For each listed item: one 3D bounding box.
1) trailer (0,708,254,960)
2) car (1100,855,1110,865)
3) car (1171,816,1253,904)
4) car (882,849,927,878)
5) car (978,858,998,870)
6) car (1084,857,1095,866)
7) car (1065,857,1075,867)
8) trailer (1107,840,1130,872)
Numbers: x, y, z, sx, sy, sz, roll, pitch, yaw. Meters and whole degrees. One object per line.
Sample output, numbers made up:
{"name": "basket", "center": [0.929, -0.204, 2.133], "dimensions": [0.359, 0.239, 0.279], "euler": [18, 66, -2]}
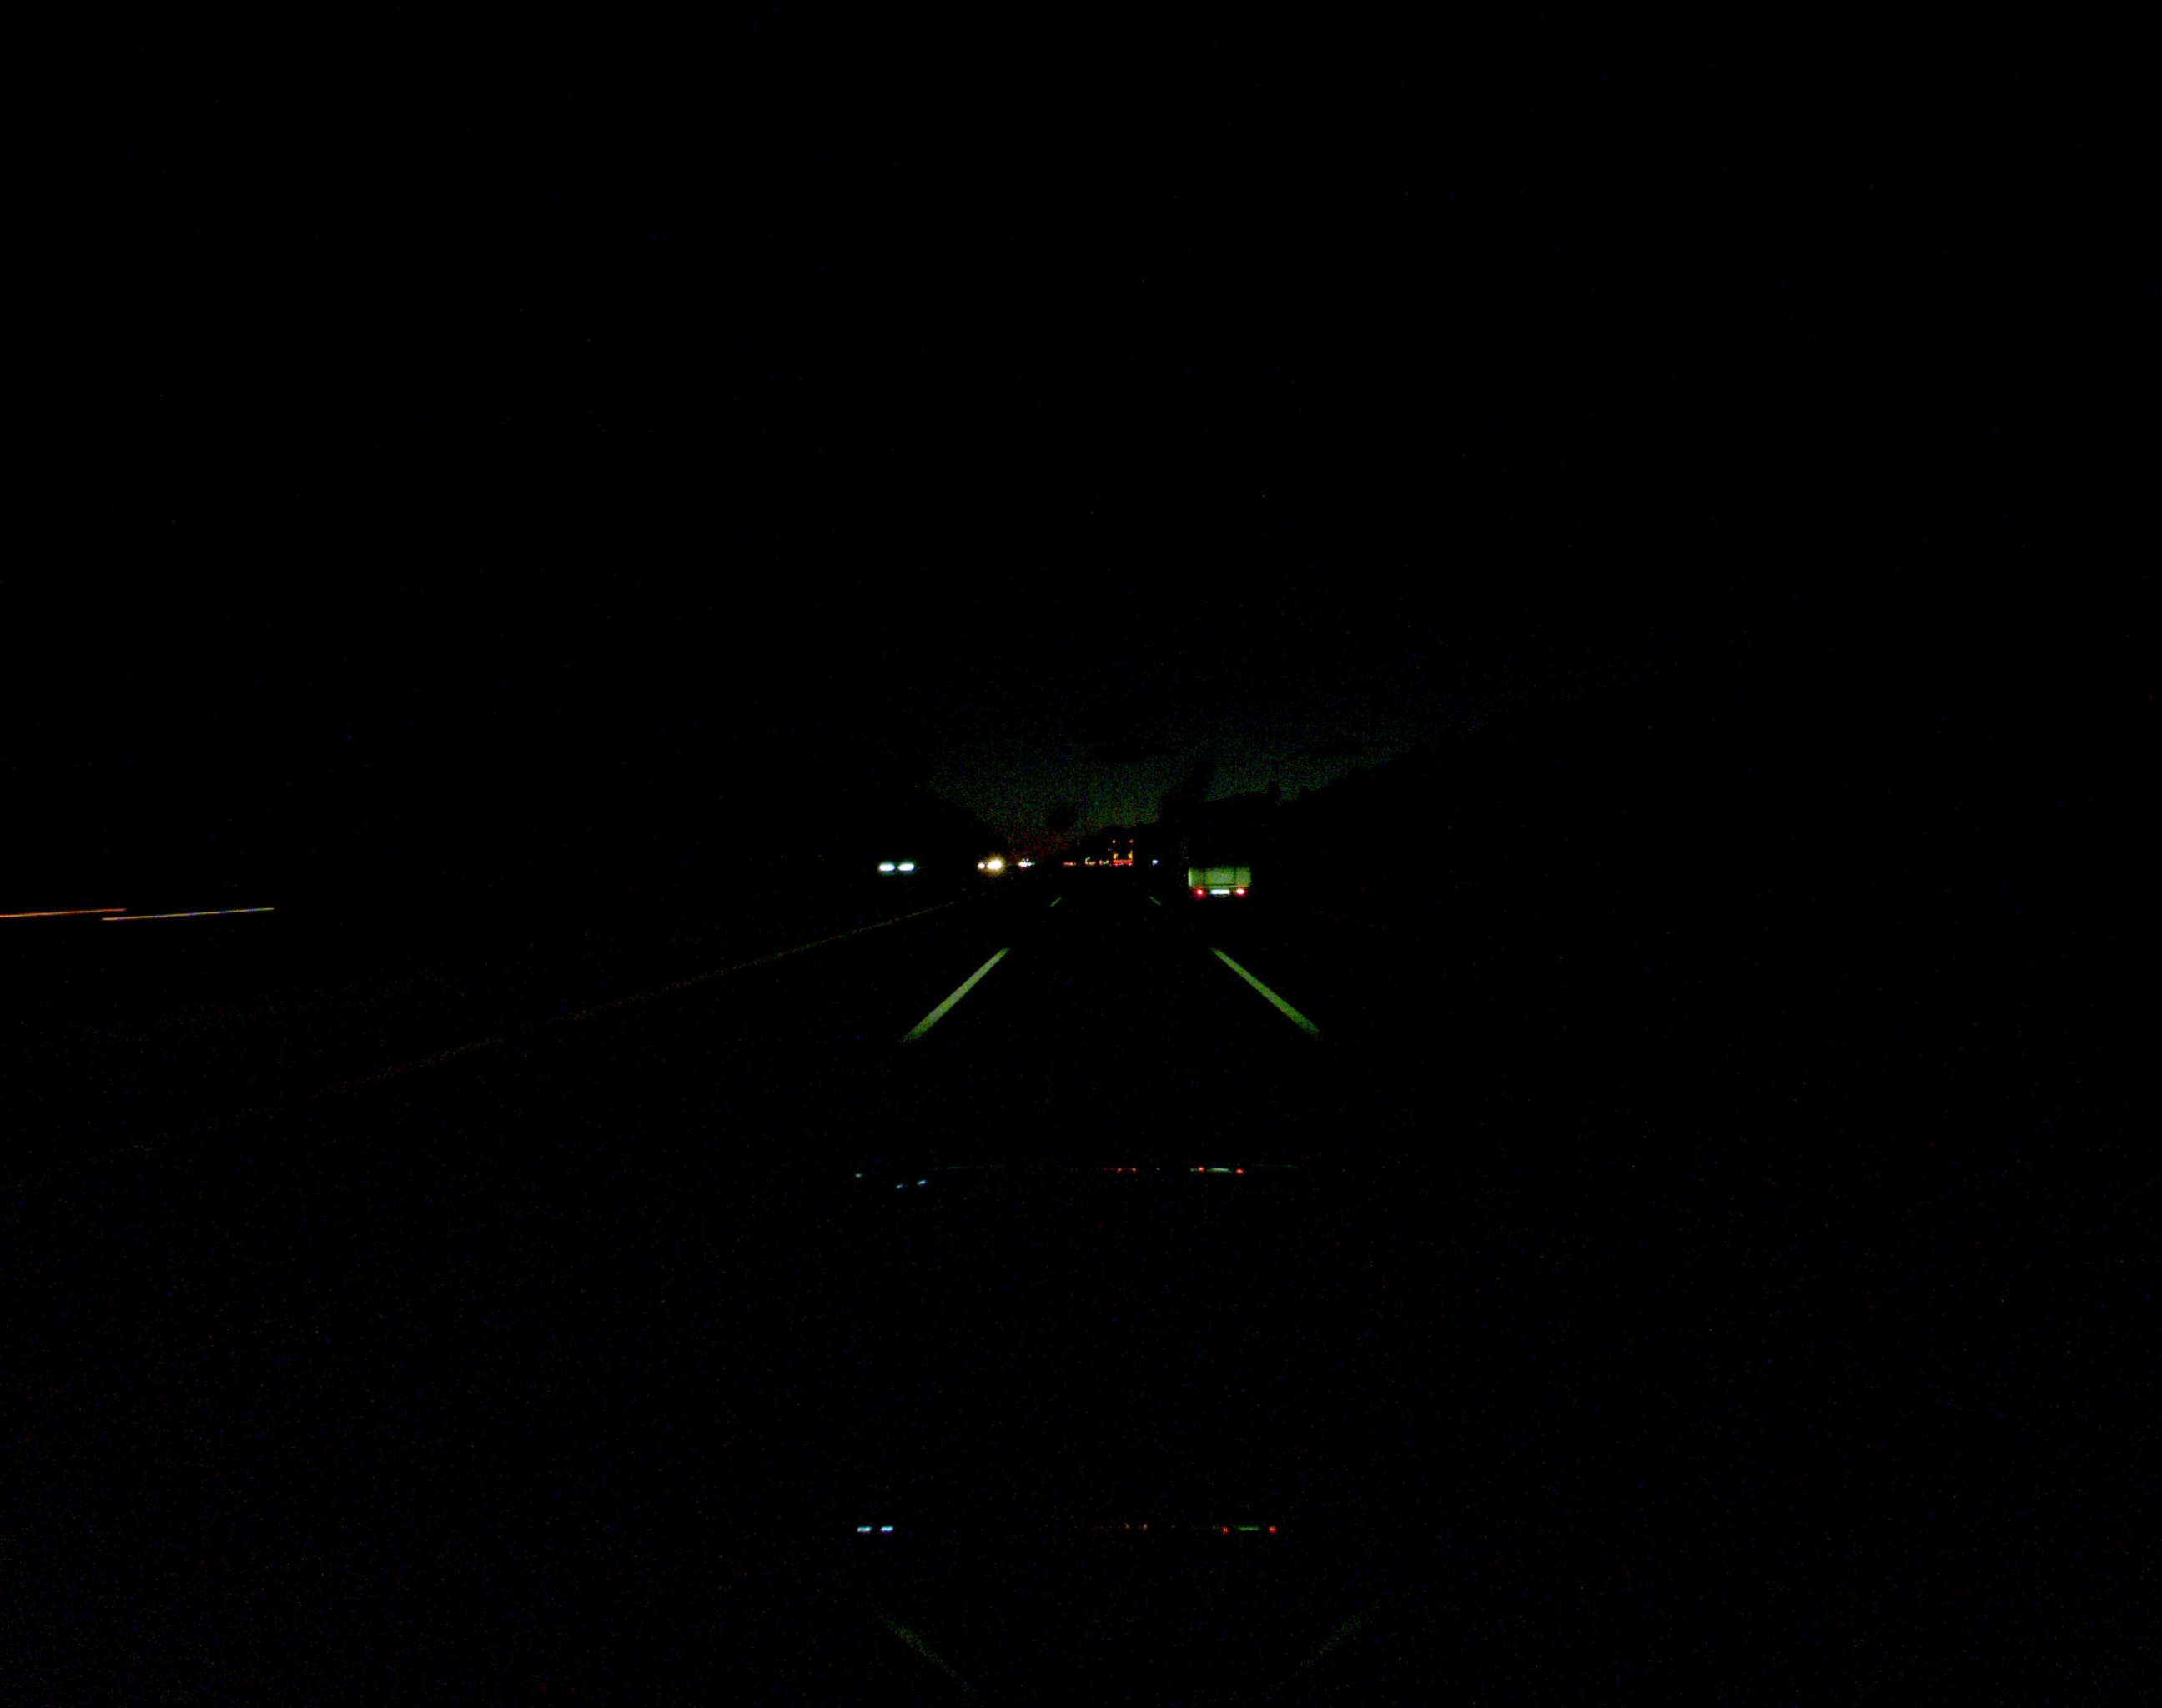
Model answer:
{"name": "trailer", "center": [-18.603, -0.308, 9.803], "dimensions": [2.843, 3.980, 13.890], "euler": [-1, 0, 2]}
{"name": "car", "center": [5.406, 1.423, 183.217], "dimensions": [1.986, 2.117, 4.001], "euler": [-1, -2, 2]}
{"name": "car", "center": [4.298, 0.202, 27.648], "dimensions": [2.024, 2.647, 5.727], "euler": [-1, -1, 2]}
{"name": "car", "center": [-13.498, 0.693, 62.809], "dimensions": [2.237, 2.101, 5.713], "euler": [-1, 0, -1]}
{"name": "car", "center": [-13.415, 1.472, 117.689], "dimensions": [2.237, 1.668, 4.888], "euler": [-1, 0, 0]}
{"name": "car", "center": [1.634, 1.466, 160.091], "dimensions": [1.987, 1.794, 3.999], "euler": [-1, -2, 0]}
{"name": "car", "center": [-2.225, 1.684, 170.133], "dimensions": [1.988, 1.794, 3.996], "euler": [-1, -2, -2]}
{"name": "trailer", "center": [5.580, 0.448, 122.511], "dimensions": [2.820, 4.257, 17.046], "euler": [-1, -2, 1]}
